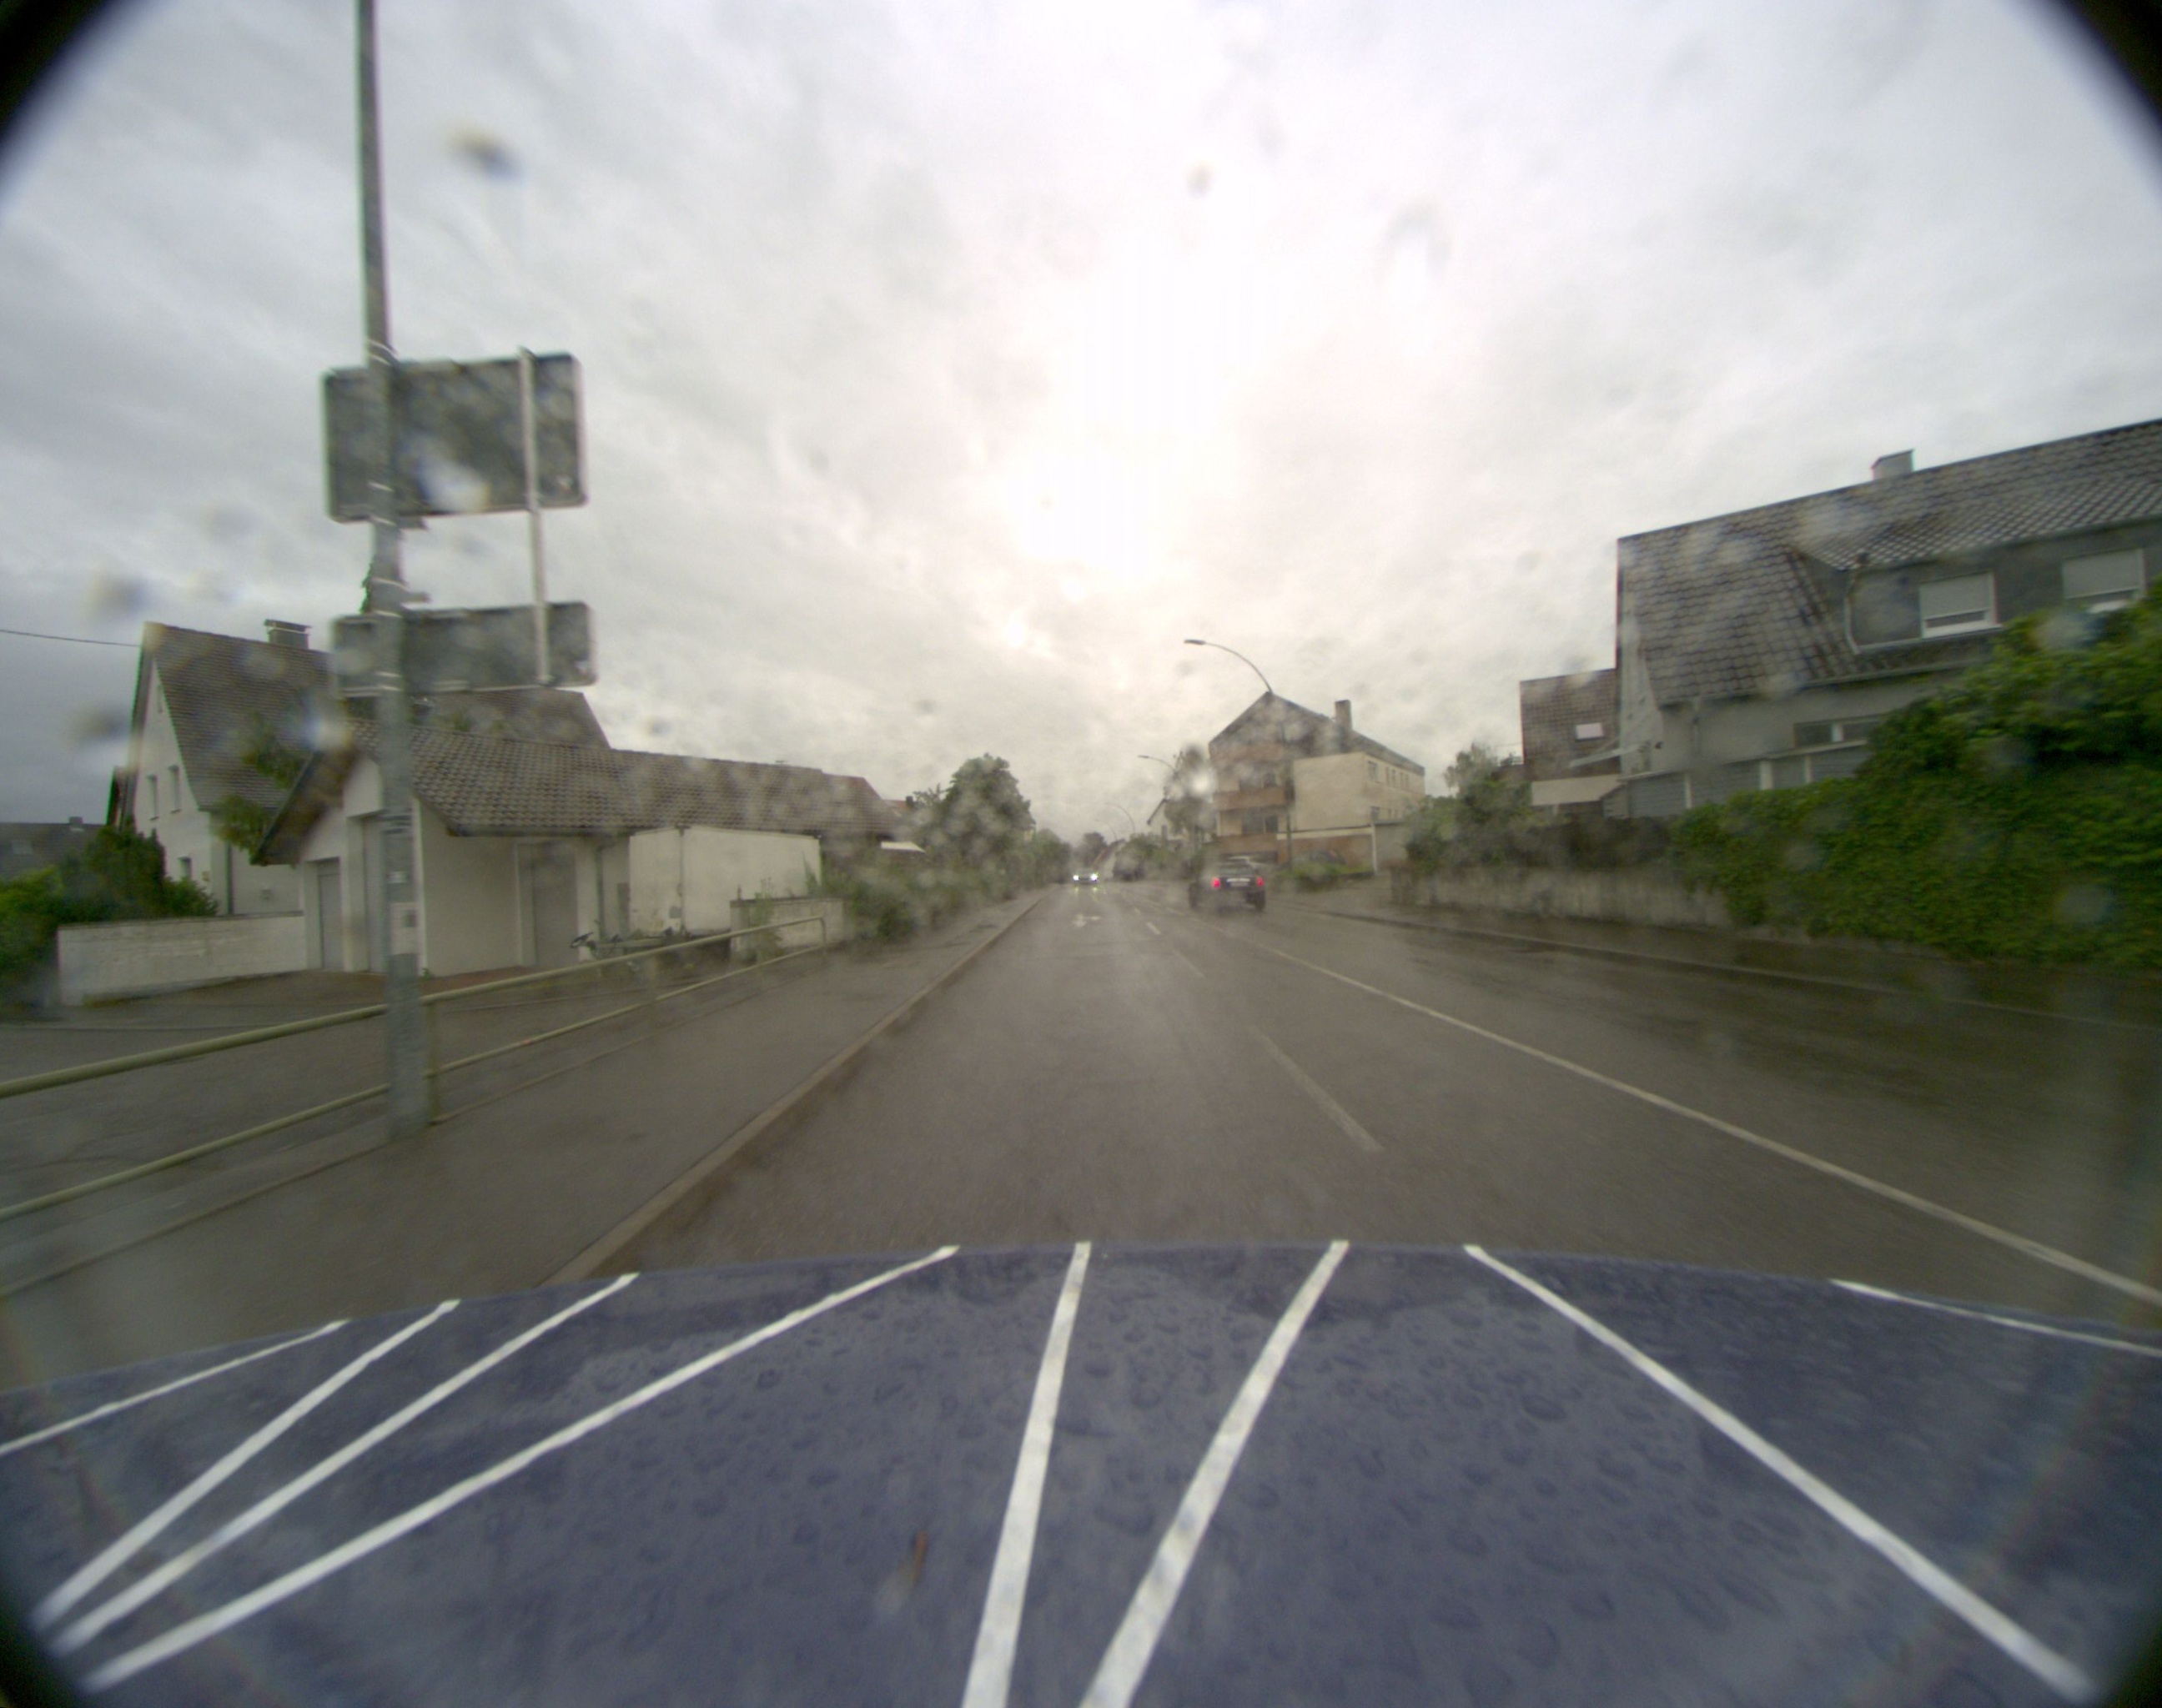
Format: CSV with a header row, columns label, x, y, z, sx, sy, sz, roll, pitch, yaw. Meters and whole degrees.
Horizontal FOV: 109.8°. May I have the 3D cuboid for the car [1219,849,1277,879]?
label,x,y,z,sx,sy,sz,roll,pitch,yaw
car,9.537,0.557,43.225,1.864,1.510,4.007,-2,1,33

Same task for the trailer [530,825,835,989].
label,x,y,z,sx,sy,sz,roll,pitch,yaw
trailer,-7.003,0.793,13.996,1.645,2.503,4.712,-3,0,29

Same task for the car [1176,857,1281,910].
label,x,y,z,sx,sy,sz,roll,pitch,yaw
car,4.485,0.853,23.868,1.999,1.396,4.621,-2,0,-5

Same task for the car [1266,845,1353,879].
label,x,y,z,sx,sy,sz,roll,pitch,yaw
car,11.191,0.409,37.304,3.661,1.510,1.758,-2,1,35

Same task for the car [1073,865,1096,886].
label,x,y,z,sx,sy,sz,roll,pitch,yaw
car,0.306,1.689,61.234,1.687,1.486,3.939,-3,0,1
